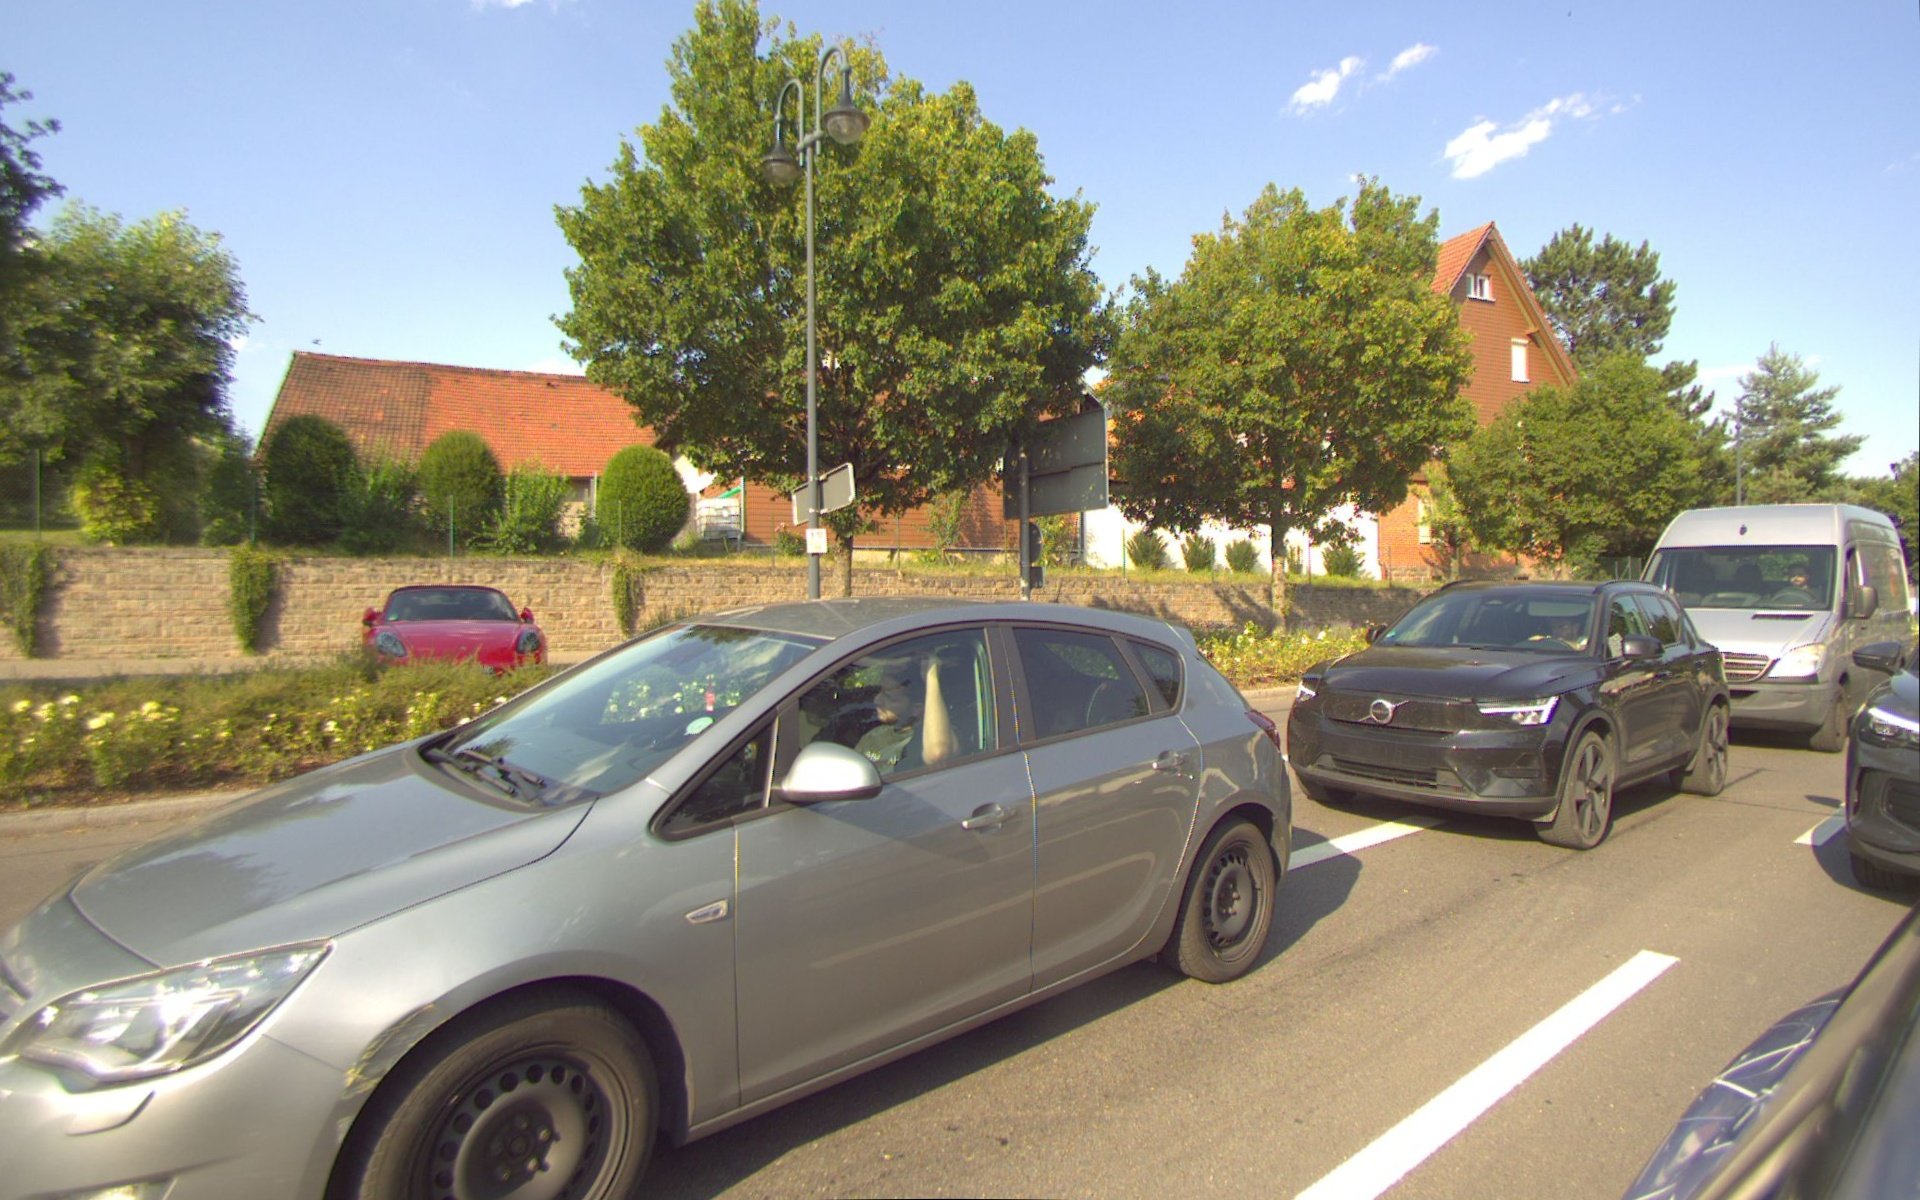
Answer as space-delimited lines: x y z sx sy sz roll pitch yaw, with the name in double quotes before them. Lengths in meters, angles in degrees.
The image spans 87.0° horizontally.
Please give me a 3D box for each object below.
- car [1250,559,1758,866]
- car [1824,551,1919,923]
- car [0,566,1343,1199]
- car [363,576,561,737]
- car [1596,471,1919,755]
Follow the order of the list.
"car" 4.163 0.563 7.444 4.242 1.629 1.844 0 2 -40
"car" 6.216 0.614 5.329 4.242 1.629 1.844 0 2 -40
"car" -0.556 0.662 3.515 4.244 1.471 1.765 0 2 -42
"car" -5.894 0.520 11.707 1.743 1.510 4.156 0 0 -31
"car" 9.730 0.082 11.961 5.938 2.601 1.992 0 1 -40
